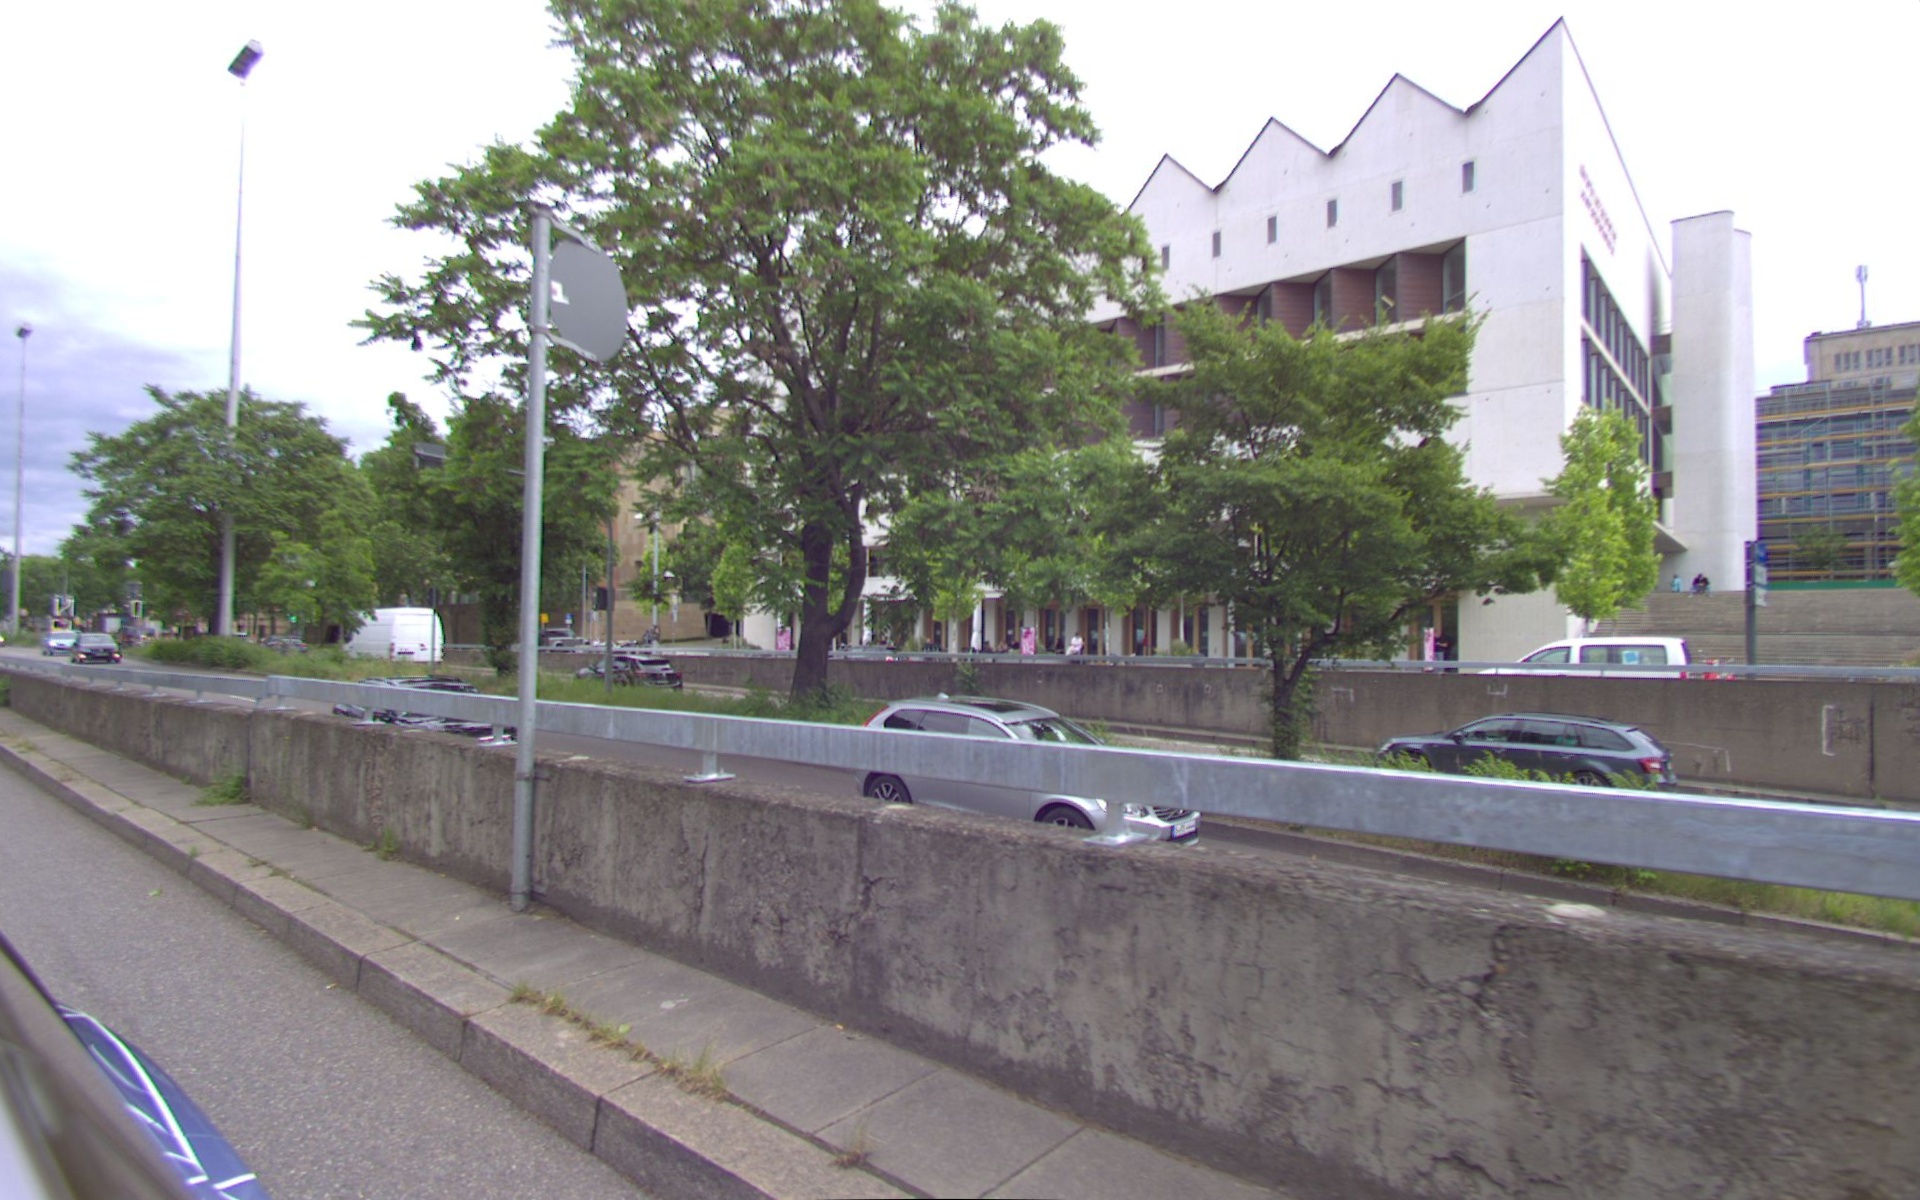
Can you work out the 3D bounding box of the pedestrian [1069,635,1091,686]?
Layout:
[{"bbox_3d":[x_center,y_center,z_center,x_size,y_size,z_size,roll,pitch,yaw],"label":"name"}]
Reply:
[{"bbox_3d":[4.942,2.489,41.777,0.630,2.029,0.626,-1,0,42],"label":"pedestrian"}]

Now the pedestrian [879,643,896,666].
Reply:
[{"bbox_3d":[-4.160,3.120,58.073,0.777,1.337,0.672,0,-2,-21],"label":"pedestrian"}]

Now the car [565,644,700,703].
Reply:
[{"bbox_3d":[-9.692,2.109,29.887,3.994,1.498,1.883,-1,0,38],"label":"car"}]

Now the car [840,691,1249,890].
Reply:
[{"bbox_3d":[0.858,2.082,12.267,4.737,1.629,1.972,-1,-2,42],"label":"car"}]

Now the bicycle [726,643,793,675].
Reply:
[{"bbox_3d":[-10.866,3.176,55.003,1.182,1.697,3.576,-2,-4,40],"label":"bicycle"}]

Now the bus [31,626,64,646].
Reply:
[{"bbox_3d":[-153.131,6.069,169.802,10.444,3.330,2.882,-2,-3,41],"label":"bus"}]

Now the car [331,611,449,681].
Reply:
[{"bbox_3d":[-23.432,1.776,41.497,6.054,2.543,2.301,1,1,41],"label":"car"}]

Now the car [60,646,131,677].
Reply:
[{"bbox_3d":[-43.328,3.043,50.707,4.806,1.494,1.973,-2,-3,41],"label":"car"}]

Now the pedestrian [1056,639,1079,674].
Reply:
[{"bbox_3d":[5.053,2.661,47.532,0.899,1.534,0.634,5,-3,0],"label":"pedestrian"}]

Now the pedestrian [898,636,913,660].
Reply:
[{"bbox_3d":[-3.155,2.786,58.913,0.639,1.337,0.636,5,-7,-22],"label":"pedestrian"}]

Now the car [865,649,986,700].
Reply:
[{"bbox_3d":[-1.316,2.724,37.480,4.388,1.730,1.838,-2,-4,40],"label":"car"}]

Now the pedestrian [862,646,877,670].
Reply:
[{"bbox_3d":[-5.206,3.345,58.424,0.640,1.337,0.636,6,-7,-21],"label":"pedestrian"}]

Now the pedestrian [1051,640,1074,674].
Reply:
[{"bbox_3d":[4.898,2.696,48.247,0.899,1.534,0.634,4,-3,0],"label":"pedestrian"}]

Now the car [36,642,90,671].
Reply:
[{"bbox_3d":[-54.684,3.423,61.663,3.998,1.658,1.972,-2,-2,41],"label":"car"}]

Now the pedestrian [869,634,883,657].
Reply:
[{"bbox_3d":[-5.066,2.748,61.111,0.565,1.337,0.513,0,-3,42],"label":"pedestrian"}]

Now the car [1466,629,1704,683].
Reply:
[{"bbox_3d":[15.375,1.334,25.047,4.805,1.127,1.790,-1,0,41],"label":"car"}]

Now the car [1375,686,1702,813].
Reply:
[{"bbox_3d":[9.774,2.416,17.326,4.578,1.550,1.859,-1,0,41],"label":"car"}]

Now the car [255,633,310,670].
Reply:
[{"bbox_3d":[-40.418,3.012,60.363,4.002,2.029,1.971,-1,0,45],"label":"car"}]

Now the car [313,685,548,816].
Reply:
[{"bbox_3d":[-8.391,2.237,15.905,4.147,1.527,1.746,-1,-1,38],"label":"car"}]

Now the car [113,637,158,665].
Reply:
[{"bbox_3d":[-60.737,3.748,74.536,4.444,1.730,1.837,2,-1,42],"label":"car"}]

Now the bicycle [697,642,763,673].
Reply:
[{"bbox_3d":[-12.772,3.177,56.297,1.182,1.697,3.576,-2,-4,40],"label":"bicycle"}]

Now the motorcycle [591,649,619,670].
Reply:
[{"bbox_3d":[-22.387,3.733,63.791,0.653,1.243,1.879,2,-2,17],"label":"motorcycle"}]

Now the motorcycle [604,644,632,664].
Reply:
[{"bbox_3d":[-21.333,3.353,63.109,0.653,1.243,1.879,2,-2,17],"label":"motorcycle"}]

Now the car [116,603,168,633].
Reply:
[{"bbox_3d":[-50.017,1.117,61.836,4.445,1.730,1.836,-2,-4,43],"label":"car"}]

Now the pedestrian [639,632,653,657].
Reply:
[{"bbox_3d":[-19.670,2.801,63.346,0.590,1.569,0.883,0,-2,-1],"label":"pedestrian"}]
